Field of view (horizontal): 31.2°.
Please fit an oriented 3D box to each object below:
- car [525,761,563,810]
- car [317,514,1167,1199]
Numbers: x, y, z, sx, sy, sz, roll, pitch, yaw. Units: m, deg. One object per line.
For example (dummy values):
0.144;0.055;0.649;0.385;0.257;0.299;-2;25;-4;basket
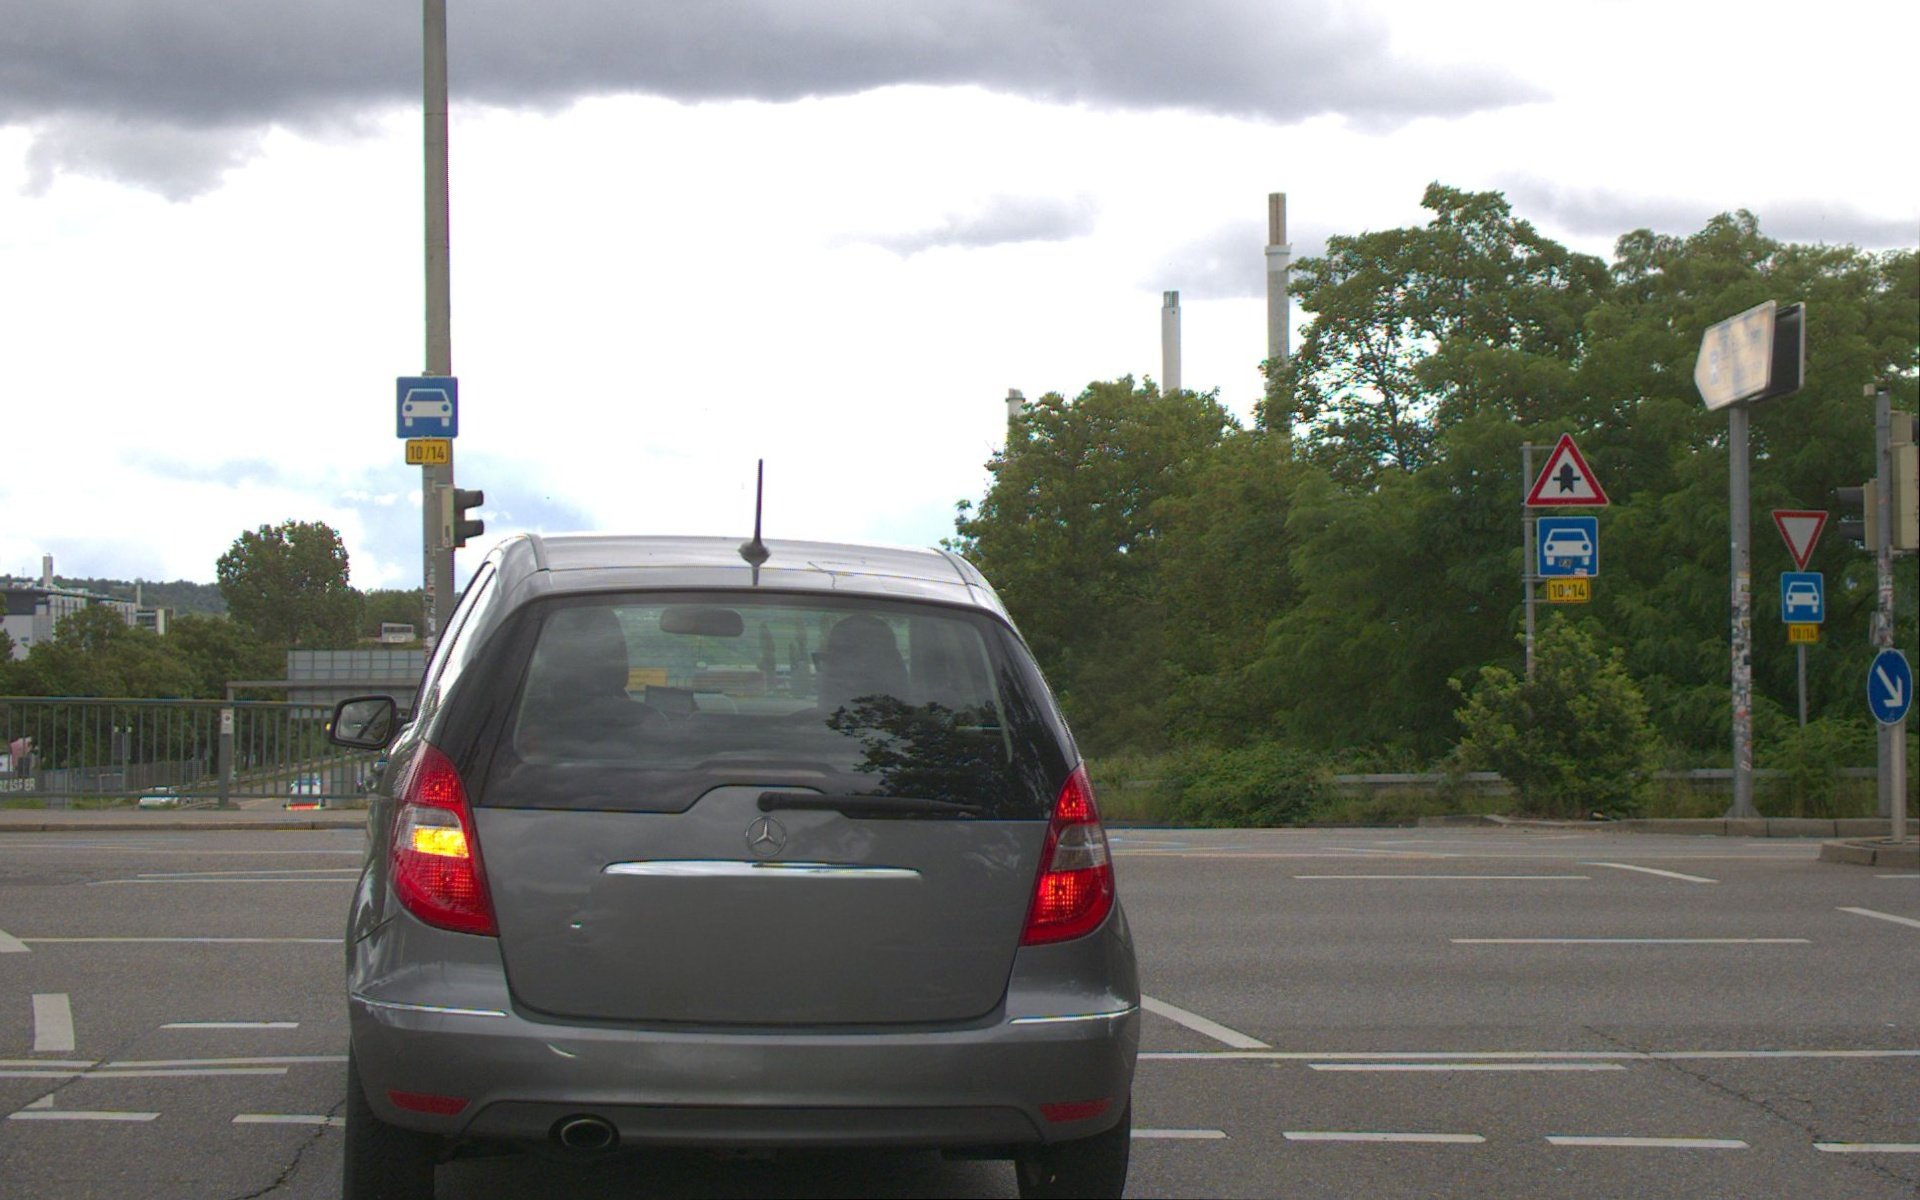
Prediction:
-23.318;10.412;192.781;1.993;2.614;5.399;-1;-3;-7;car
-0.695;0.623;8.989;1.745;1.545;3.872;0;-1;-8;car
